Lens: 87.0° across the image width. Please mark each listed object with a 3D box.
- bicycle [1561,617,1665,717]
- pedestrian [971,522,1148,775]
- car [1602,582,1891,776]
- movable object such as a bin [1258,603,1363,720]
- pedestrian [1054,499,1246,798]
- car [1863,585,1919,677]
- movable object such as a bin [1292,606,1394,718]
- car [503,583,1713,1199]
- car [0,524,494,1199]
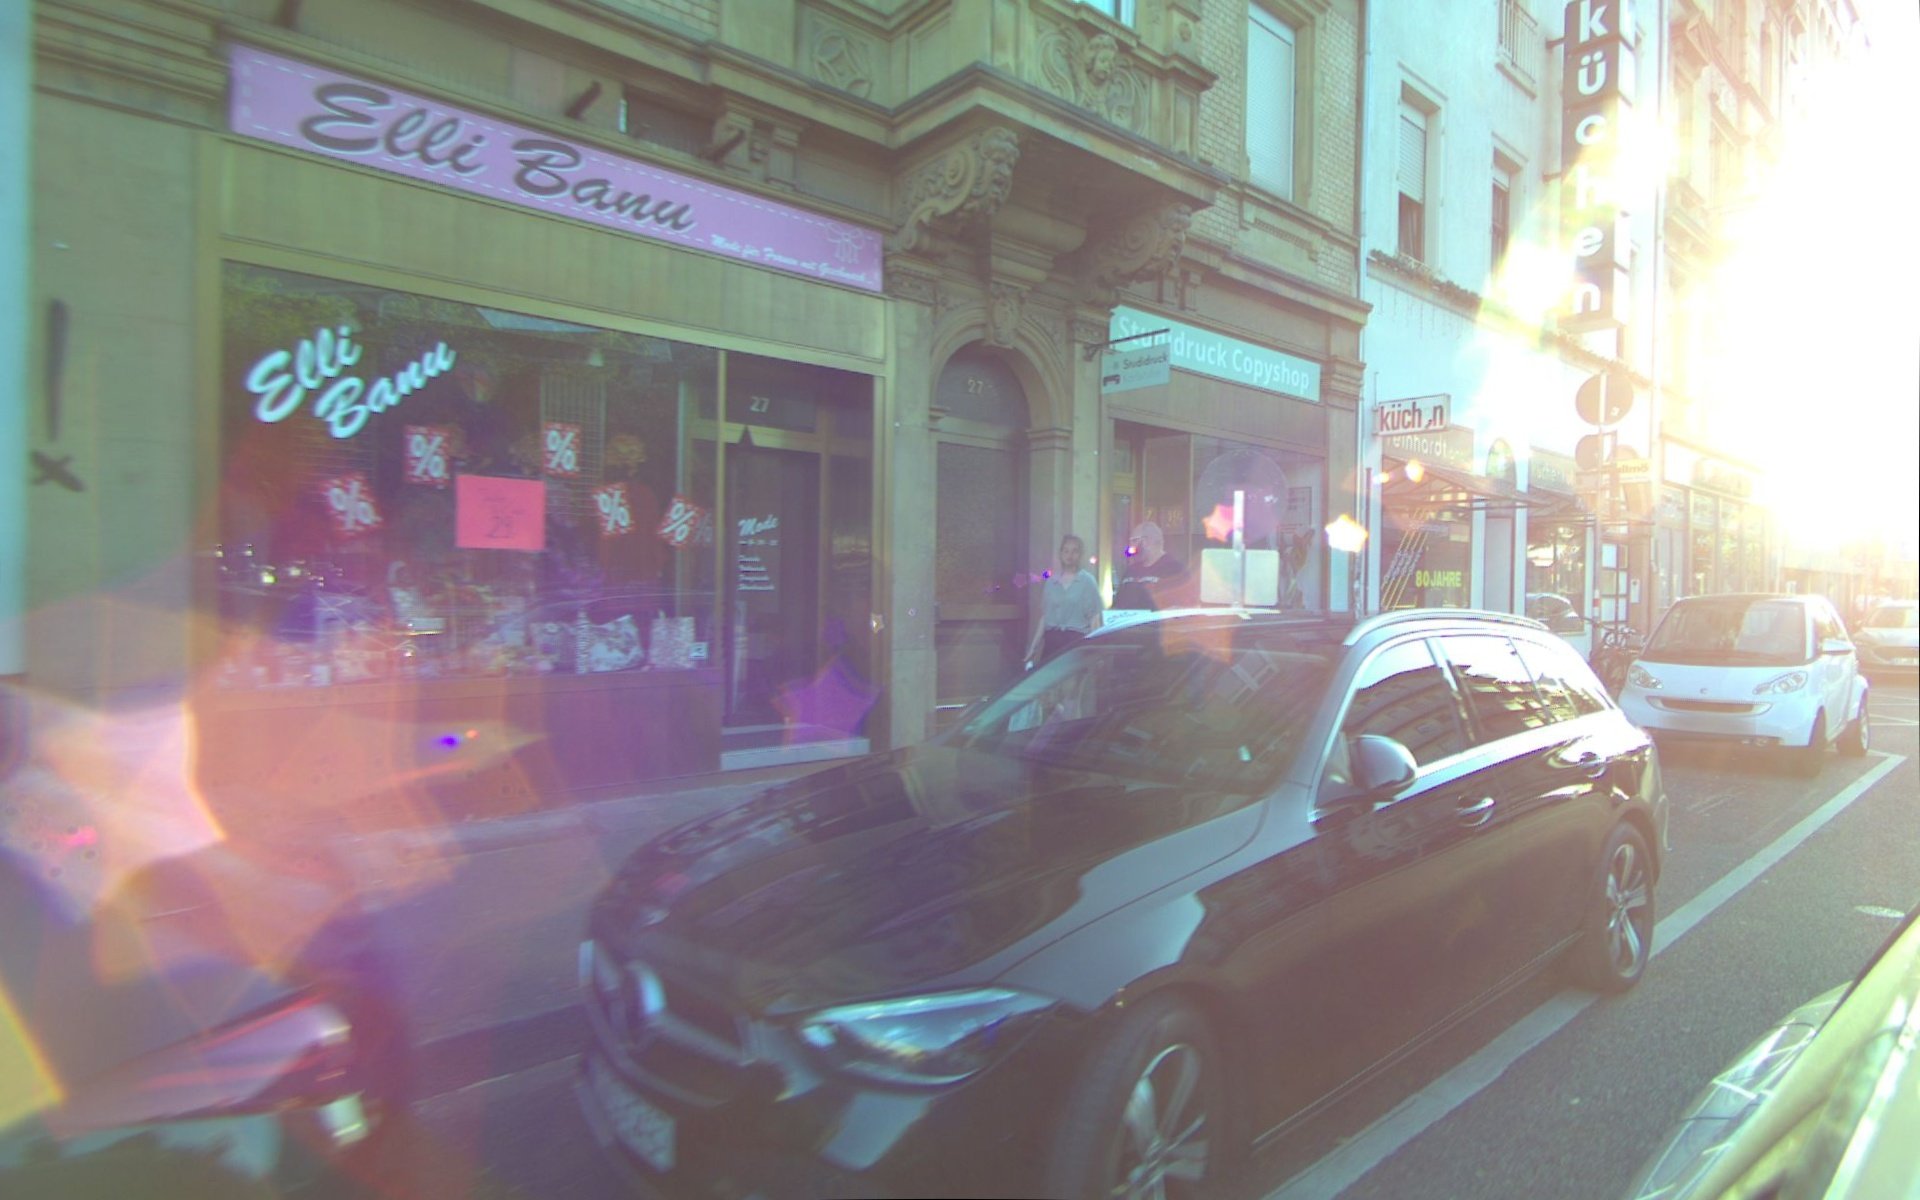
[{"bbox_3d":[7.584,0.734,11.722,1.913,1.028,0.505,0,1,-42],"label":"bicycle"},{"bbox_3d":[0.742,0.314,7.535,1.024,1.732,0.774,0,2,-41],"label":"pedestrian"},{"bbox_3d":[7.661,0.613,9.779,3.225,1.556,1.535,-1,0,-39],"label":"car"},{"bbox_3d":[3.565,0.600,10.301,0.607,1.083,0.776,0,3,-41],"label":"movable object such as a bin"},{"bbox_3d":[1.291,0.282,6.870,0.993,1.849,0.774,0,2,-41],"label":"pedestrian"},{"bbox_3d":[18.108,0.500,18.638,4.740,1.556,1.760,-1,0,-43],"label":"car"},{"bbox_3d":[4.048,0.627,10.706,0.607,1.083,0.776,0,3,-41],"label":"movable object such as a bin"},{"bbox_3d":[0.983,0.702,3.582,4.445,1.467,1.733,-1,0,-40],"label":"car"},{"bbox_3d":[-2.831,0.690,0.558,4.395,1.467,1.733,-1,0,-40],"label":"car"}]
